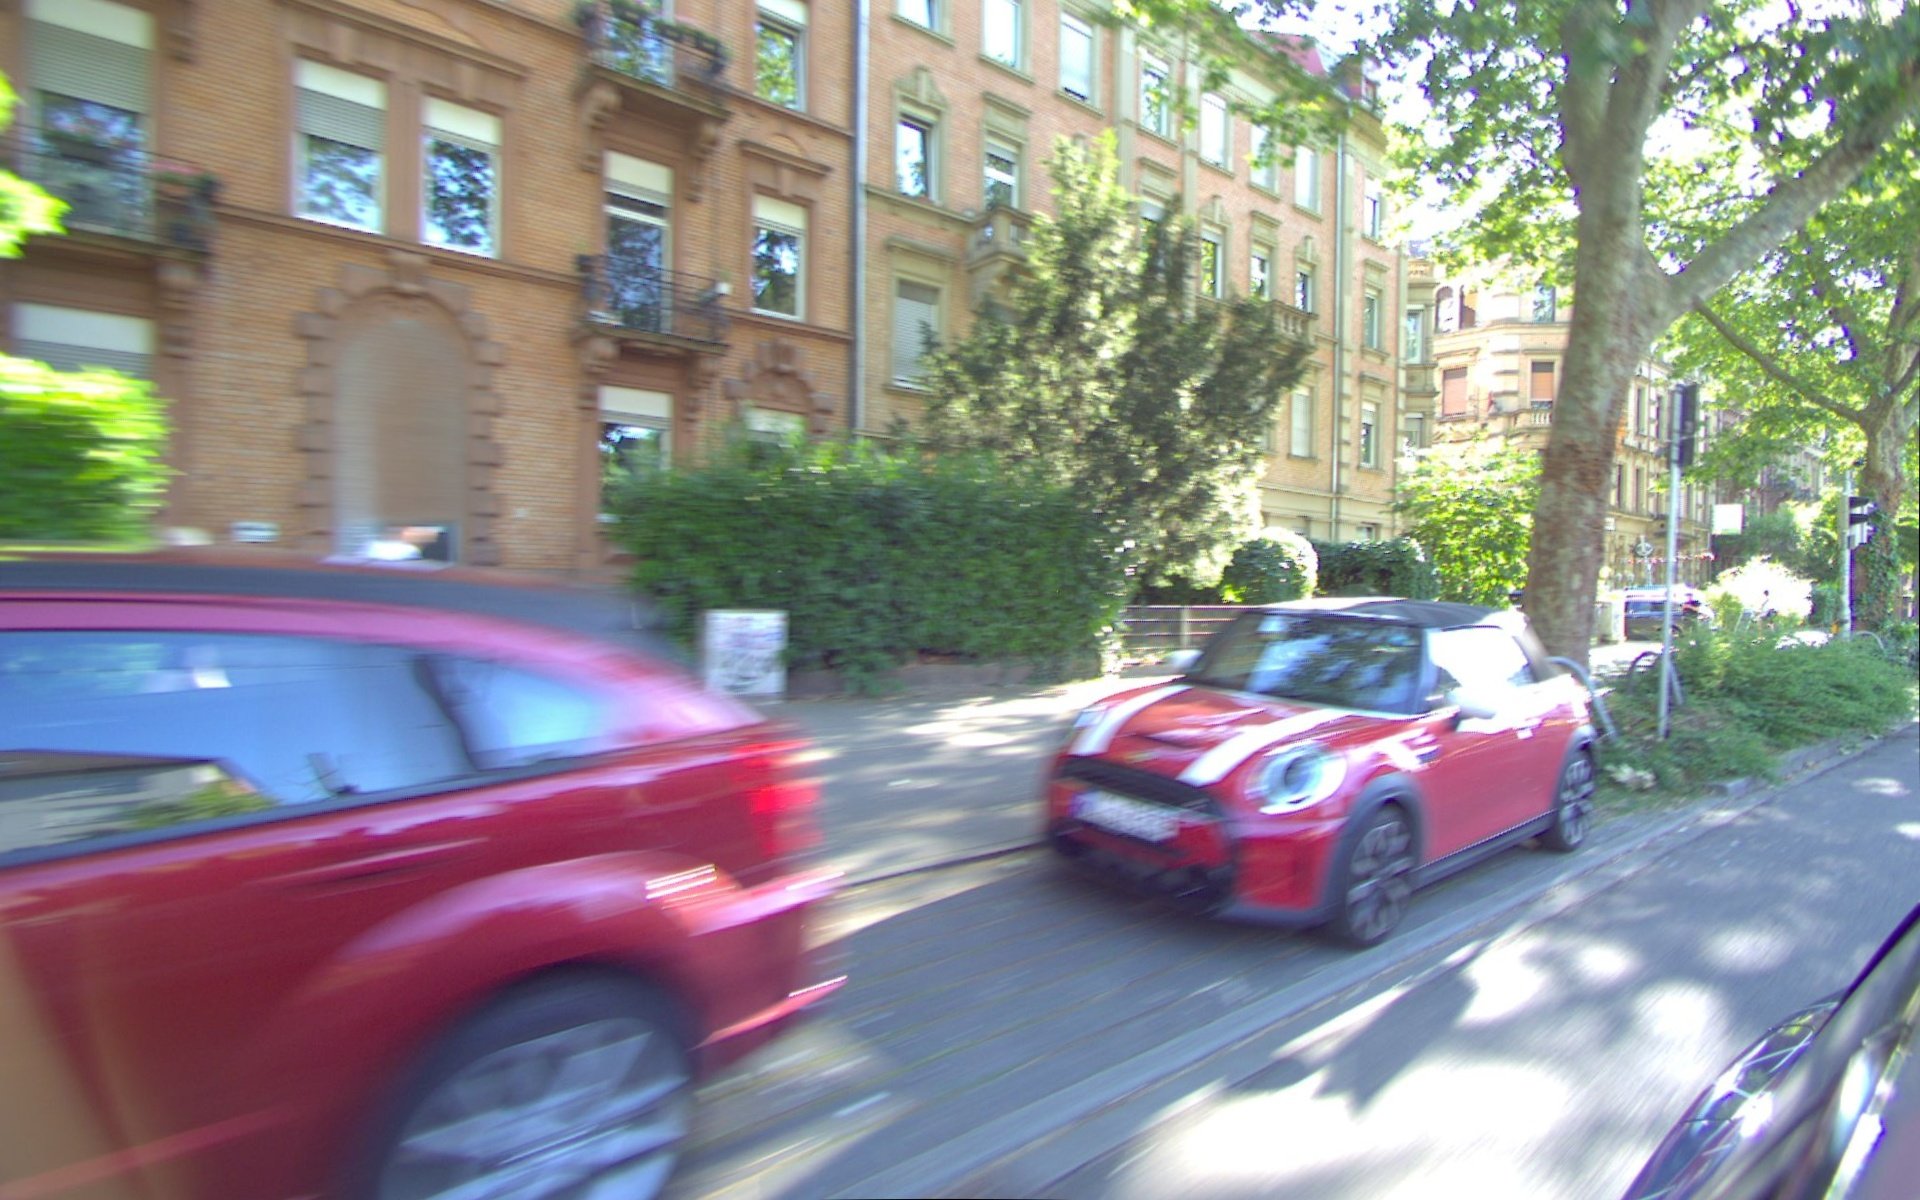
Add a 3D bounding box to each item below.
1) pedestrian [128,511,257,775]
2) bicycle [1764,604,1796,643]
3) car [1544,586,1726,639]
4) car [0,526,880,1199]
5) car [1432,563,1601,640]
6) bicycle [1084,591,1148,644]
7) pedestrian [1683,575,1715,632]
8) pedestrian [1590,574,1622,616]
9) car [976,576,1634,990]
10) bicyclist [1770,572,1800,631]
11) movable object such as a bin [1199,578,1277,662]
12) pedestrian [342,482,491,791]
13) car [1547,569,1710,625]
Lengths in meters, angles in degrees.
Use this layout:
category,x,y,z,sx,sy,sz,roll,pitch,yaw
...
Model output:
category,x,y,z,sx,sy,sz,roll,pitch,yaw
pedestrian,-5.072,0.258,6.692,0.606,1.647,0.531,2,2,-40
bicycle,23.479,0.669,28.965,0.560,1.050,1.903,1,0,43
car,21.244,0.413,31.962,4.544,1.559,1.878,-1,-1,42
car,-2.452,0.640,1.786,4.421,1.567,1.718,-1,4,-40
car,16.855,0.017,30.751,1.965,2.039,3.994,5,0,-42
bicycle,3.495,0.380,22.586,1.488,1.156,0.327,0,-1,-26
pedestrian,20.792,0.102,28.462,0.596,1.569,0.540,4,0,-41
pedestrian,24.954,-0.196,39.092,0.885,1.611,0.862,-1,-1,43
car,2.129,0.636,5.667,3.930,1.480,1.718,-1,3,-41
bicyclist,23.573,0.029,28.920,0.543,1.645,0.634,4,2,43
movable object such as a bin,5.241,0.357,19.097,1.065,1.482,0.909,1,3,-41
pedestrian,-3.438,0.203,6.388,0.633,1.807,0.690,2,1,-41
car,24.017,-0.156,36.515,1.873,1.869,4.558,0,1,-40
